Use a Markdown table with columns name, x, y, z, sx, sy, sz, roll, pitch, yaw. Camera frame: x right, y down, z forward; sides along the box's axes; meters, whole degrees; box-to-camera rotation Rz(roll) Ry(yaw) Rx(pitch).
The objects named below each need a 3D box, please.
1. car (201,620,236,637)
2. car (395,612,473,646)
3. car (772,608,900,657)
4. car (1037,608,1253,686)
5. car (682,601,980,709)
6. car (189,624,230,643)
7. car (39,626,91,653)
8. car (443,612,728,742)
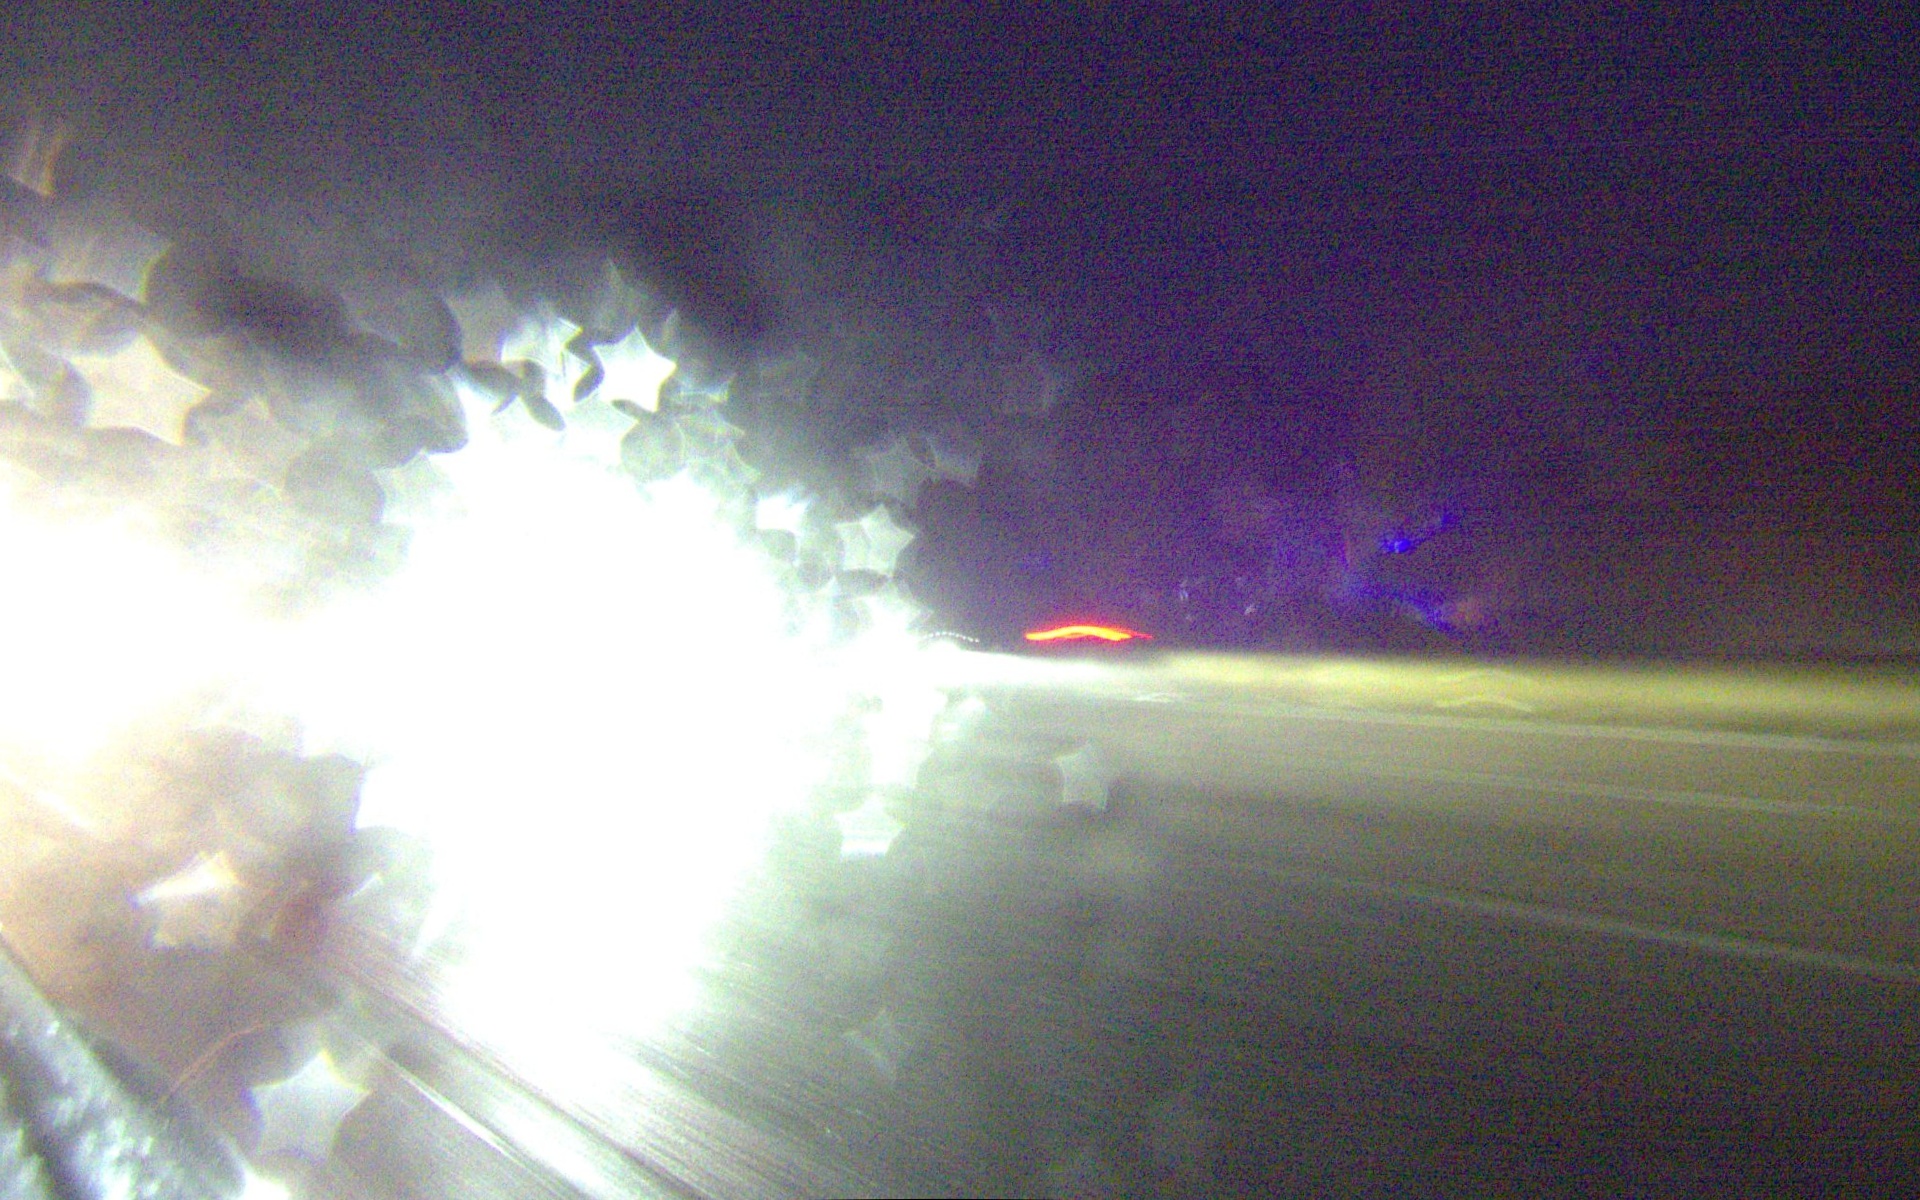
| name | x | y | z | sx | sy | sz | roll | pitch | yaw |
| --- | --- | --- | --- | --- | --- | --- | --- | --- | --- |
| car | -74.011 | 2.857 | 101.020 | 4.458 | 1.569 | 1.860 | -1 | 0 | 41 |
| car | -25.795 | 1.395 | 49.568 | 4.457 | 1.569 | 1.861 | -1 | 0 | 40 |
| car | -4.344 | 1.086 | 34.974 | 4.457 | 1.569 | 1.861 | -1 | 0 | 40 |
| car | 4.081 | 0.987 | 22.781 | 4.457 | 1.569 | 1.861 | -1 | 0 | 40 |
| car | -2.268 | 0.805 | 16.733 | 5.163 | 1.487 | 1.973 | -1 | 0 | 41 |
| car | -66.057 | 2.929 | 89.033 | 4.456 | 1.569 | 1.861 | -1 | 0 | 40 |
| car | -57.552 | 2.484 | 65.063 | 4.586 | 1.572 | 1.972 | -1 | 0 | 42 |
| car | -5.159 | 0.918 | 13.731 | 3.998 | 1.452 | 1.973 | -1 | 0 | 41 |
